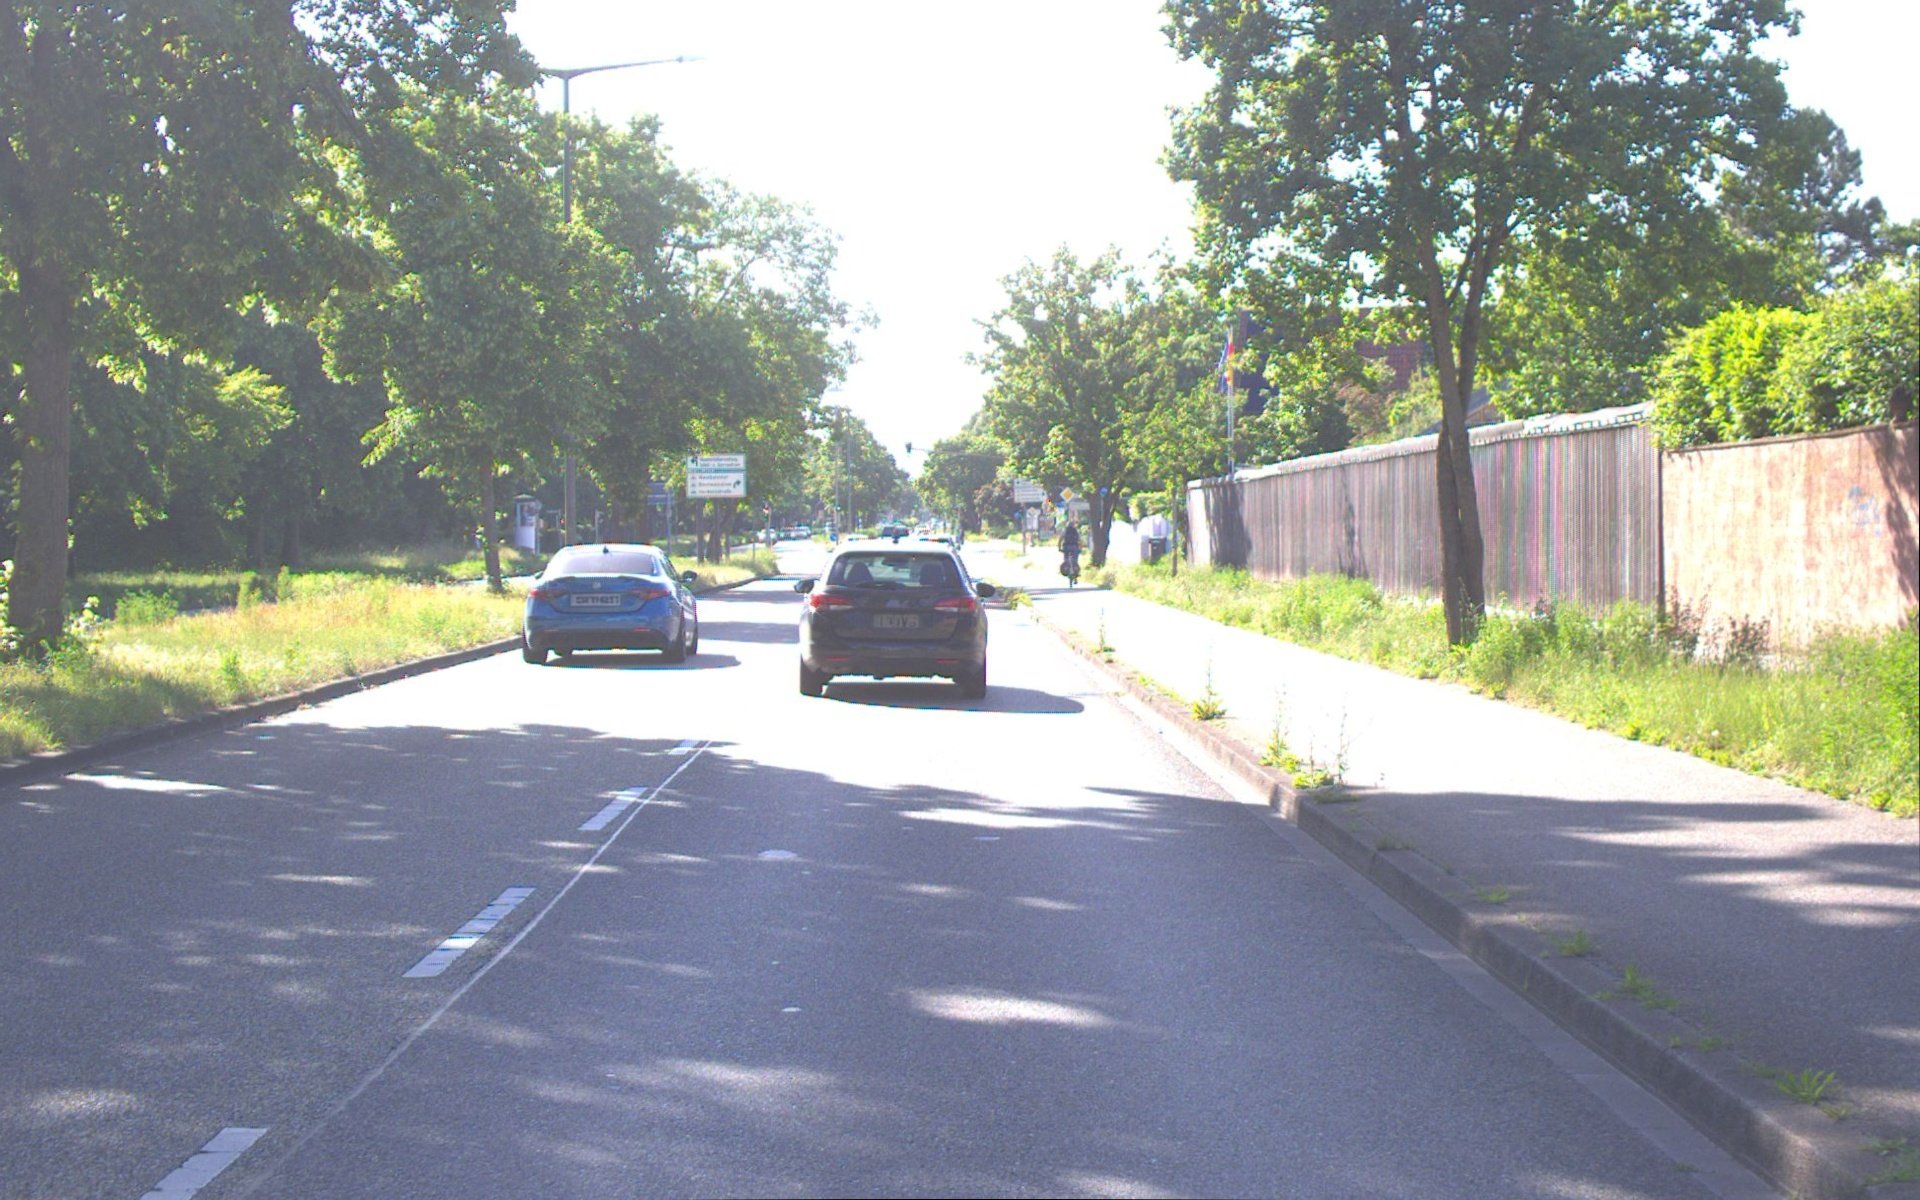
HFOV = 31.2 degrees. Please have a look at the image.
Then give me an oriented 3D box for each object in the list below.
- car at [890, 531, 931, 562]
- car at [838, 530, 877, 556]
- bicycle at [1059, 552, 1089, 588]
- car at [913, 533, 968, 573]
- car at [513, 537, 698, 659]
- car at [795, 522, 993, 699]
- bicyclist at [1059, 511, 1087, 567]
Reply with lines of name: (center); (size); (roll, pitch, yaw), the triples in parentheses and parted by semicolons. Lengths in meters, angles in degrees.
car: (-2.469, -2.649, 170.072); (1.978, 1.435, 4.001); (0, 2, -2)
car: (-5.843, -3.247, 195.516); (1.978, 1.435, 4.001); (0, 2, -4)
bicycle: (2.872, -0.765, 86.705); (0.655, 0.889, 1.875); (0, 1, -1)
car: (-0.762, -1.809, 131.473); (1.978, 1.435, 4.001); (0, 2, -2)
car: (-4.263, -0.057, 41.906); (1.994, 1.400, 4.001); (0, 1, -2)
car: (-0.582, 0.063, 33.156); (1.760, 1.554, 4.000); (1, 1, 0)
bicyclist: (2.852, -1.548, 86.817); (0.680, 1.414, 0.812); (0, 1, -1)
